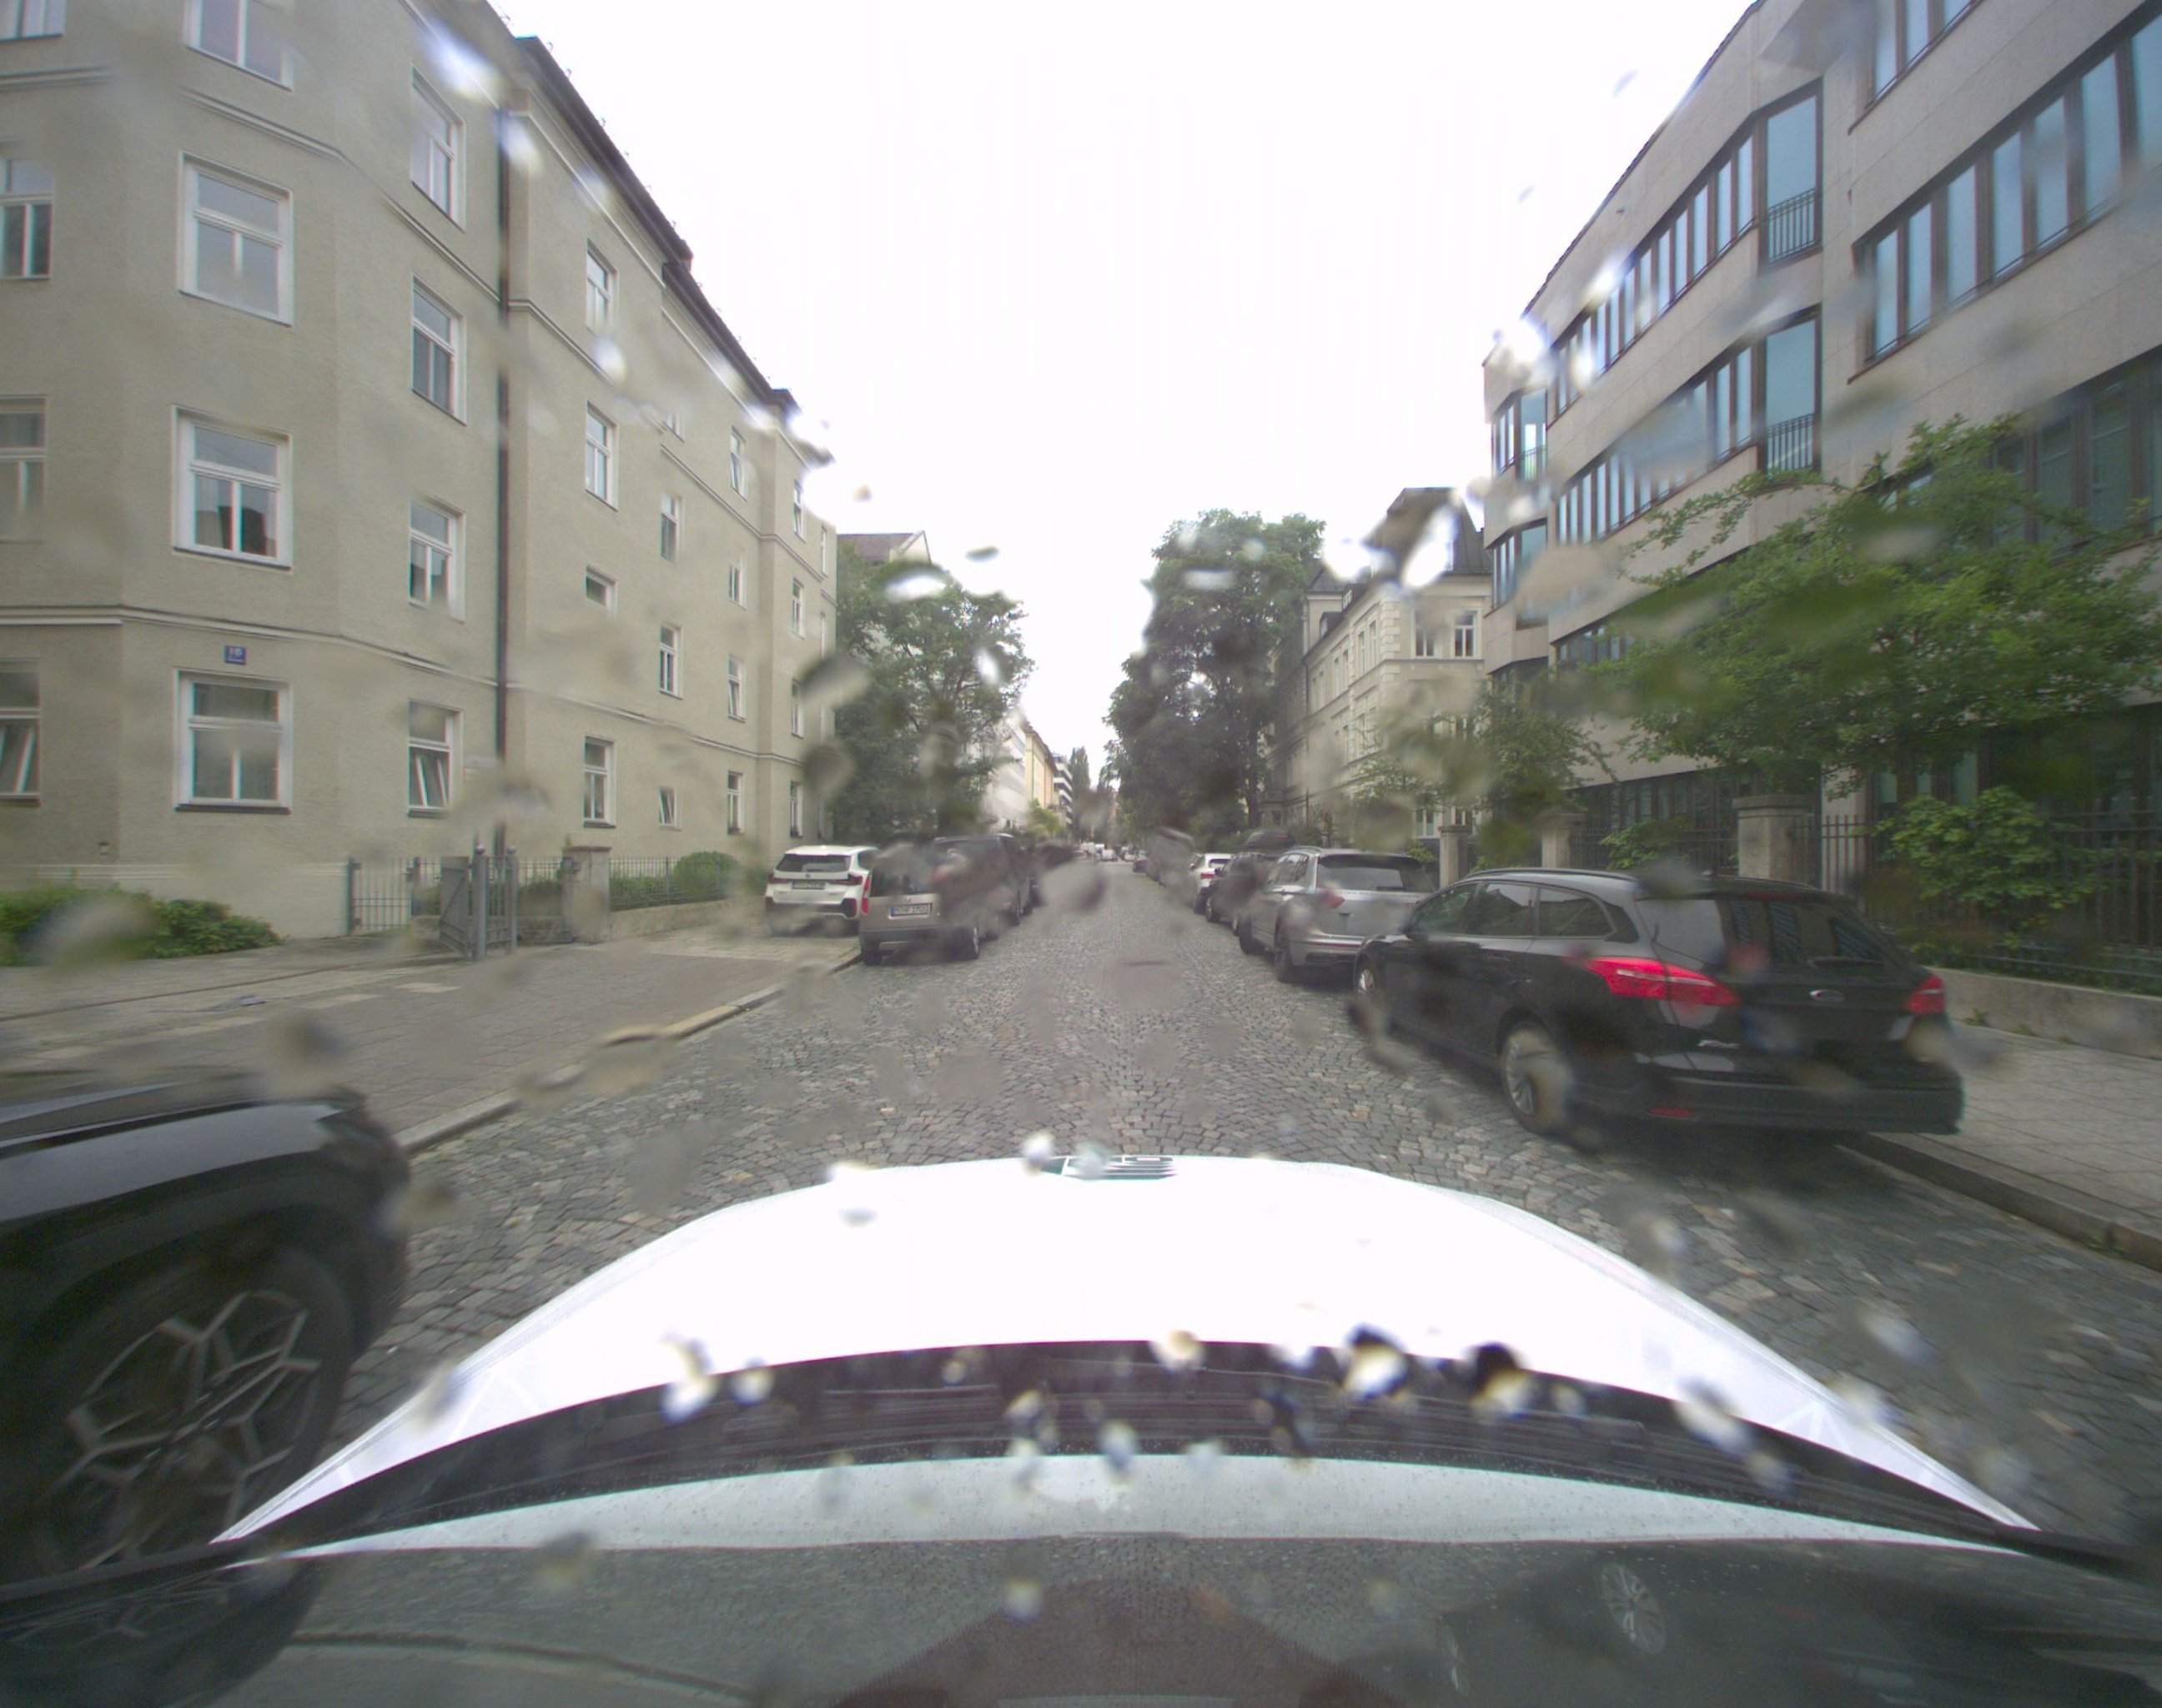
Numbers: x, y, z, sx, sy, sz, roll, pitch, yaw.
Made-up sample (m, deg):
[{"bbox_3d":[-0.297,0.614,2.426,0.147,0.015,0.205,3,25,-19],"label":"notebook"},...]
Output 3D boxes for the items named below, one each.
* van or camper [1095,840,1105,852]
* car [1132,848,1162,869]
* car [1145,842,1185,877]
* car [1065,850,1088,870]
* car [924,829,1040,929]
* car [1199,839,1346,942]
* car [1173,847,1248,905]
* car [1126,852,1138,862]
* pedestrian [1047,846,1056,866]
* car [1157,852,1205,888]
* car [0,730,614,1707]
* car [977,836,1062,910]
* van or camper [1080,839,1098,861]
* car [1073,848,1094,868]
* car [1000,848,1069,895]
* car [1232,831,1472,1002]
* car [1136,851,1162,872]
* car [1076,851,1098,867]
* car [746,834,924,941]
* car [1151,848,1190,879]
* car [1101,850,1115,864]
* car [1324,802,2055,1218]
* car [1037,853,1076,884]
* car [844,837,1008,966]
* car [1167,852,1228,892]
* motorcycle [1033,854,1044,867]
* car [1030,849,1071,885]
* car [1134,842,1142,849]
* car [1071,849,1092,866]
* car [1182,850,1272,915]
[{"bbox_3d":[4.322,-1.830,187.041,2.247,2.742,5.101,1,0,2],"label":"van or camper"},{"bbox_3d":[4.946,0.328,61.824,1.867,1.503,4.511,3,0,0],"label":"car"},{"bbox_3d":[5.035,0.313,49.611,1.867,1.928,5.164,3,0,0],"label":"car"},{"bbox_3d":[-0.359,0.467,69.628,1.867,1.580,4.255,-3,0,0],"label":"car"},{"bbox_3d":[-2.078,0.489,18.506,1.866,1.917,4.829,-2,0,1],"label":"car"},{"bbox_3d":[3.767,0.640,16.922,1.867,1.735,4.747,3,0,0],"label":"car"},{"bbox_3d":[4.197,0.652,27.030,1.866,1.670,4.660,2,0,2],"label":"car"},{"bbox_3d":[7.720,0.442,123.456,1.783,1.520,4.003,0,0,3],"label":"car"},{"bbox_3d":[-2.818,0.210,78.170,0.789,1.917,0.759,1,0,2],"label":"pedestrian"},{"bbox_3d":[4.496,0.696,37.034,1.707,1.472,4.270,3,0,1],"label":"car"},{"bbox_3d":[-2.778,0.724,0.530,1.909,1.735,4.759,-4,0,3],"label":"car"},{"bbox_3d":[-1.750,0.518,24.980,1.986,1.917,5.179,-3,0,1],"label":"car"},{"bbox_3d":[1.044,-0.455,102.492,1.985,2.652,4.003,-3,0,3],"label":"van or camper"},{"bbox_3d":[0.263,0.394,82.059,1.866,1.776,4.123,-3,0,1],"label":"car"},{"bbox_3d":[-1.636,0.608,30.644,1.970,1.561,5.021,-2,0,3],"label":"car"},{"bbox_3d":[3.322,0.658,11.084,1.865,1.735,4.896,2,0,4],"label":"car"},{"bbox_3d":[5.581,0.577,67.052,1.811,1.580,4.209,3,0,2],"label":"car"},{"bbox_3d":[0.686,0.528,87.542,1.864,1.580,4.214,2,0,5],"label":"car"},{"bbox_3d":[-4.628,0.562,16.179,1.938,1.735,4.659,3,0,1],"label":"car"},{"bbox_3d":[4.784,0.481,44.128,1.829,1.490,4.425,3,0,3],"label":"car"},{"bbox_3d":[4.052,0.481,120.193,1.985,2.013,4.003,0,0,3],"label":"car"},{"bbox_3d":[3.407,0.686,5.959,1.866,1.735,4.660,4,0,1],"label":"car"},{"bbox_3d":[-1.224,0.705,42.860,1.777,1.417,4.498,-3,0,1],"label":"car"},{"bbox_3d":[-2.377,0.660,13.665,1.859,1.735,4.402,-2,0,0],"label":"car"},{"bbox_3d":[4.588,0.666,32.636,1.689,1.440,4.058,3,0,-2],"label":"car"},{"bbox_3d":[-4.095,0.638,77.866,0.619,1.196,1.871,0,0,11],"label":"motorcycle"},{"bbox_3d":[-1.301,0.551,35.666,1.657,1.444,4.170,-1,0,-1],"label":"car"},{"bbox_3d":[15.843,-2.406,226.215,1.985,2.014,4.003,0,0,3],"label":"car"},{"bbox_3d":[0.049,0.338,75.788,1.867,1.451,4.207,-2,0,0],"label":"car"},{"bbox_3d":[3.828,0.680,22.058,1.865,1.490,4.622,2,1,4],"label":"car"}]
